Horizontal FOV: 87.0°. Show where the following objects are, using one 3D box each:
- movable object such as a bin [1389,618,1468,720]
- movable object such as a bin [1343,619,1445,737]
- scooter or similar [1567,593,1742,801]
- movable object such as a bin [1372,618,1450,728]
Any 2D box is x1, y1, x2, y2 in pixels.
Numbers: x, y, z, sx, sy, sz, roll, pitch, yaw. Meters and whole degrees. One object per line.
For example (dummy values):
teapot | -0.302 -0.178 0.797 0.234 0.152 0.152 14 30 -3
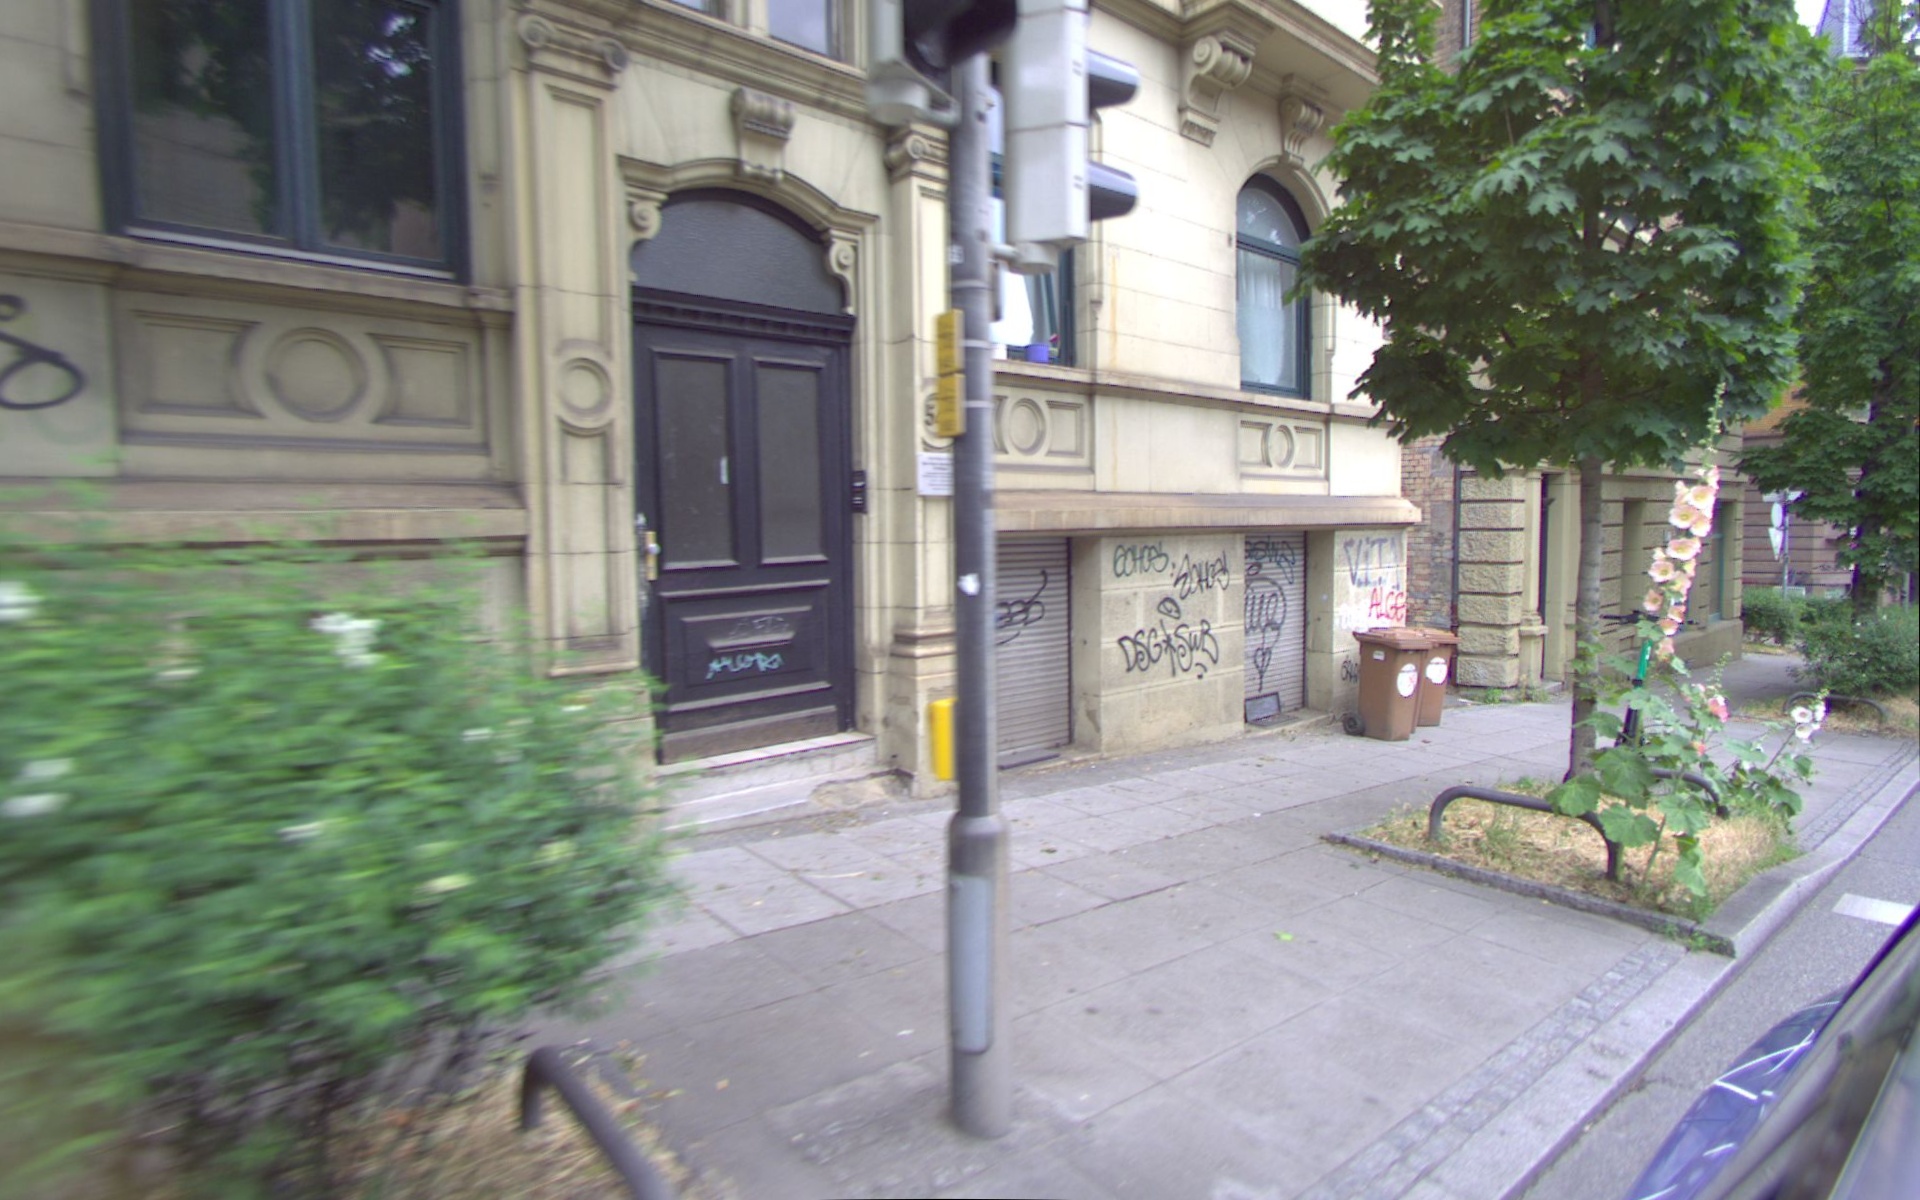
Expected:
movable object such as a bin | 4.555 0.657 9.857 0.434 0.930 0.503 1 2 -21
movable object such as a bin | 3.804 0.663 8.883 0.484 0.930 0.613 0 4 -38
scooter or similar | 5.057 0.638 7.347 1.360 1.319 0.663 -1 4 -41
movable object such as a bin | 4.160 0.662 9.361 0.493 0.930 0.492 3 3 8
